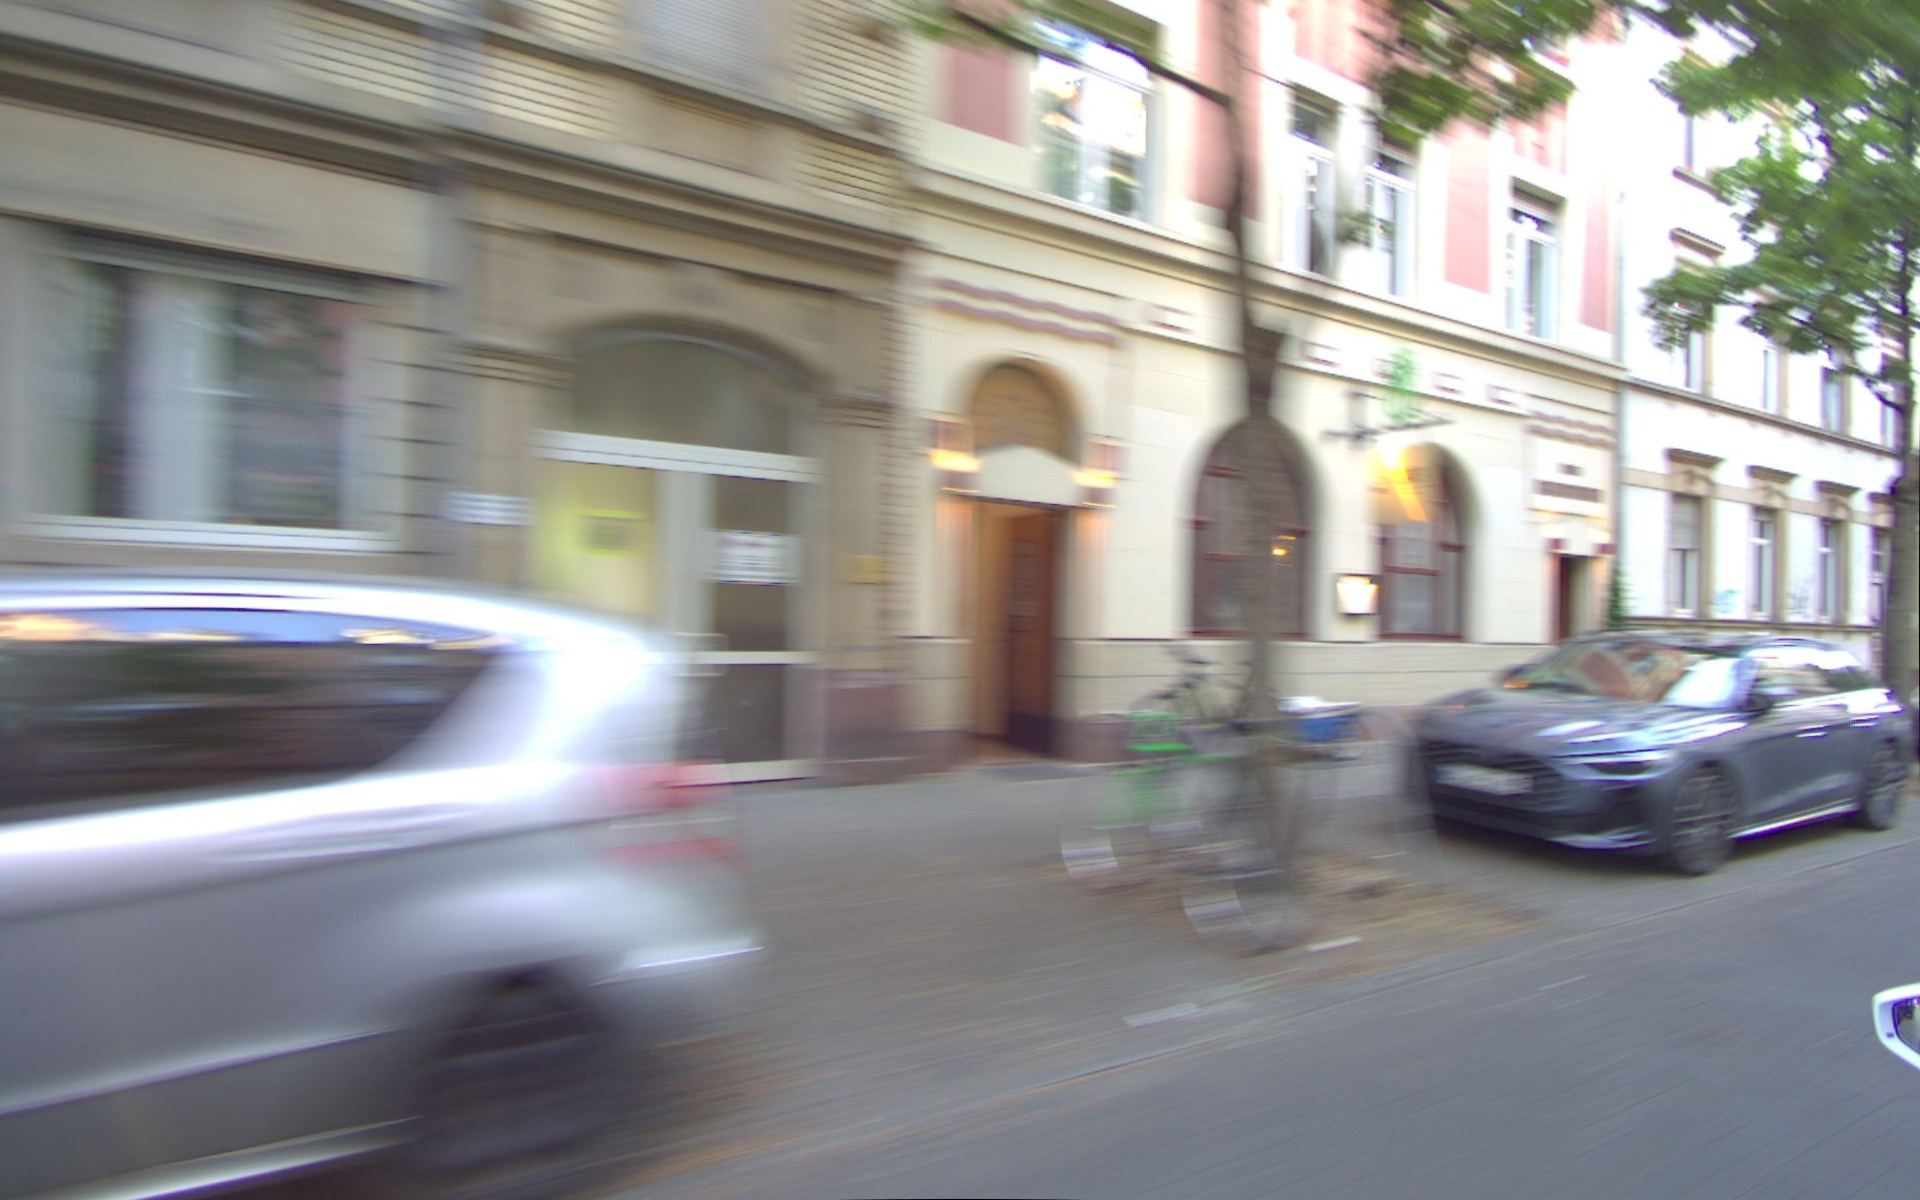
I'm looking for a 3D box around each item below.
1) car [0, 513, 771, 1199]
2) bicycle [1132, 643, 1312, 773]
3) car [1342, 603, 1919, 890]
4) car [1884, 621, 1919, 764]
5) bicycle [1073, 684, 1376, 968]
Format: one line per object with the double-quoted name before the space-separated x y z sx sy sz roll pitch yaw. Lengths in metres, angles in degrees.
"car" -2.592 0.630 2.555 3.814 1.629 1.669 2 0 -29
"bicycle" 2.463 0.967 9.379 1.774 1.112 0.523 2 -1 -30
"car" 5.125 0.864 7.452 4.631 1.538 1.796 2 0 -31
"car" 12.892 1.099 11.926 4.030 1.602 1.698 1 0 -30
"bicycle" 1.245 1.031 5.106 0.424 1.017 1.676 1 2 -28
